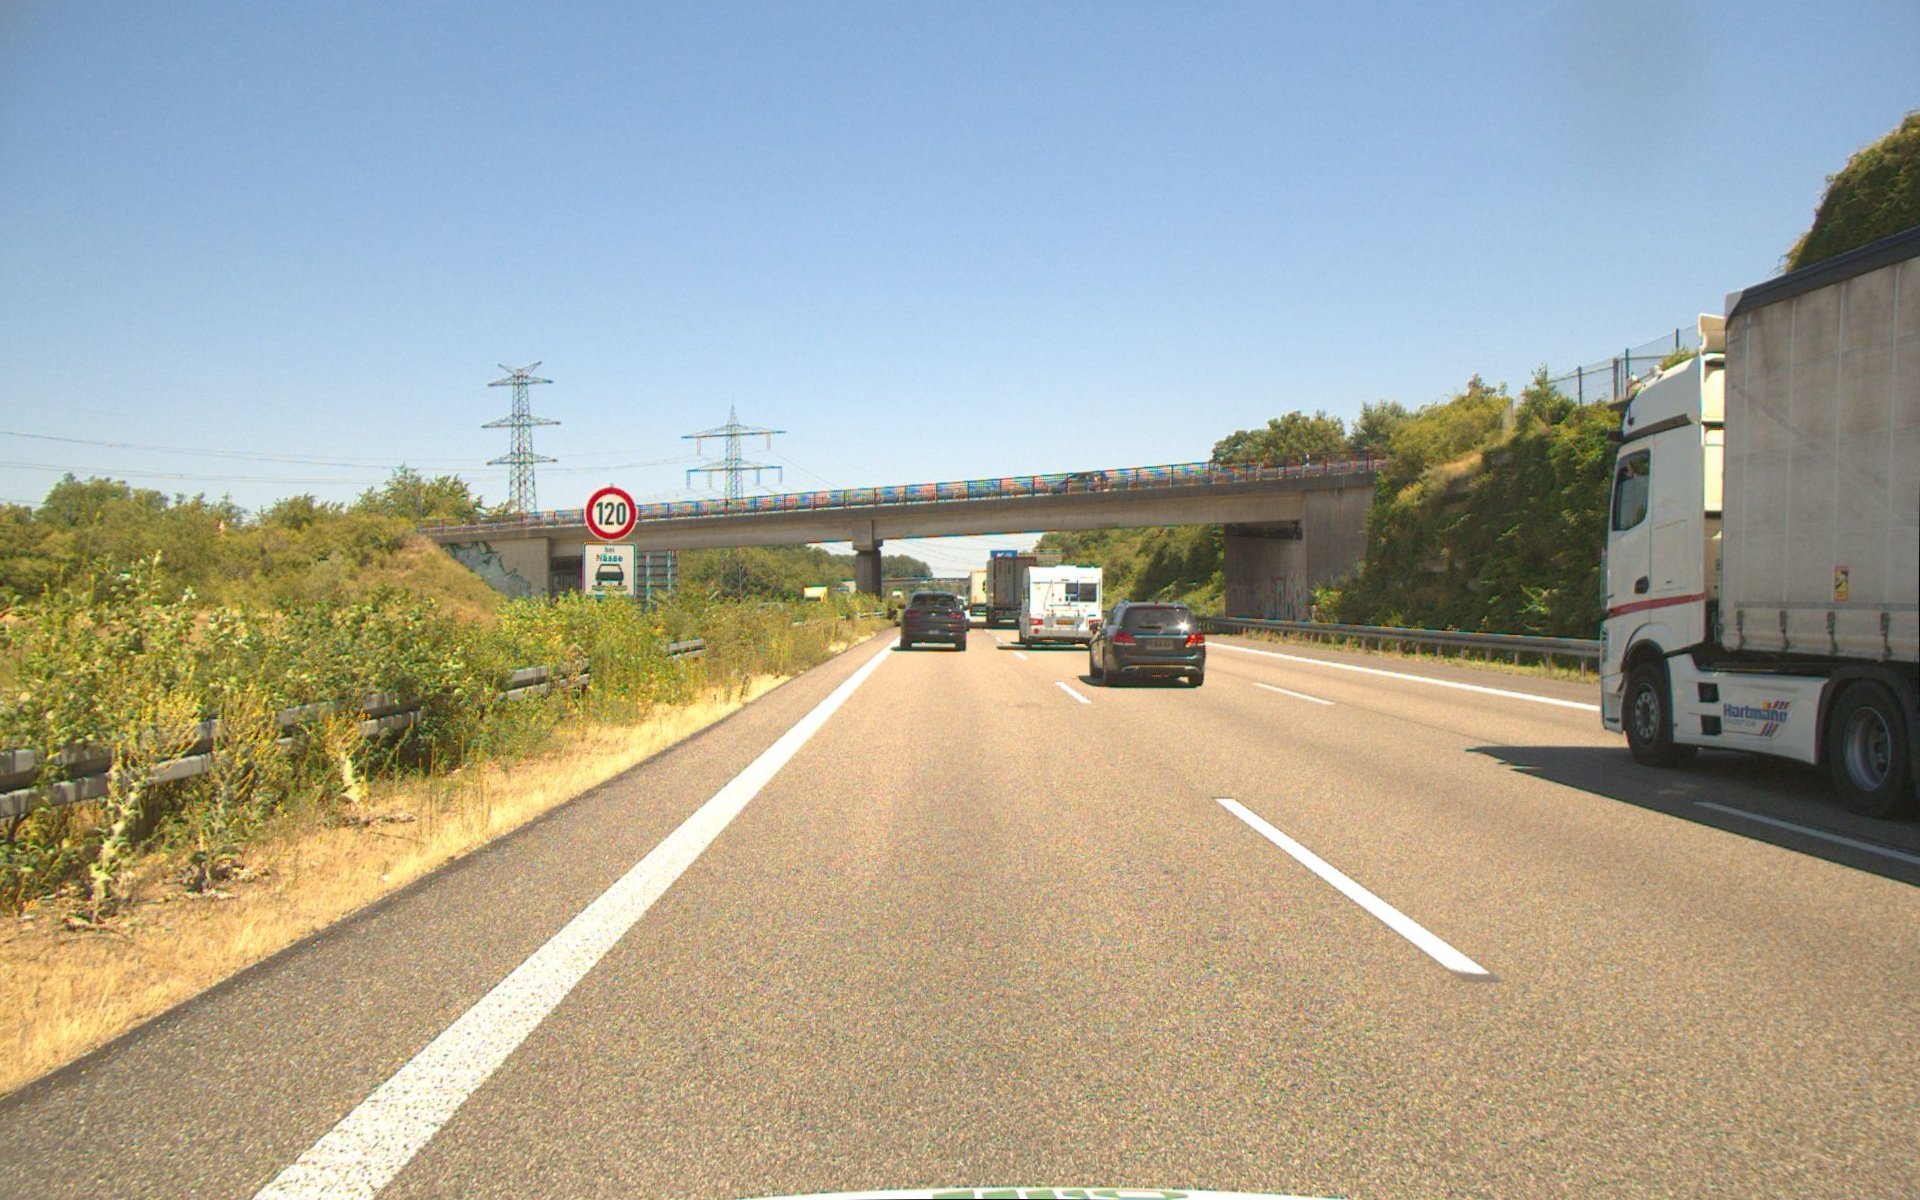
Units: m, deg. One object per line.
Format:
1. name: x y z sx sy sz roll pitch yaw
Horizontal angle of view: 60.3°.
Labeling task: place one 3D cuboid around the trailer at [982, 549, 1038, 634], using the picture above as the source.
1. trailer: 3.055 -0.454 104.396 3.024 4.970 12.257 1 0 0

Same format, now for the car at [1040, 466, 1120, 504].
1. car: 6.663 -6.368 91.791 3.914 1.680 1.995 -2 -2 32

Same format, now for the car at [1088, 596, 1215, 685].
1. car: 3.507 0.700 31.080 1.803 1.532 4.737 0 0 0

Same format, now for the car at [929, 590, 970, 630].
1. car: -0.528 0.465 79.871 1.922 1.846 4.448 -1 0 -1

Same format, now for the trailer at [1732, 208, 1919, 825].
1. trailer: 7.915 -0.569 7.233 2.673 4.174 13.186 0 0 -1

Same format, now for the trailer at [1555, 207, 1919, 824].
1. trailer: 7.771 -0.575 14.331 2.658 4.174 6.787 0 0 -1

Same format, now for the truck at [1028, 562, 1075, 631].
1. truck: 6.825 -0.251 124.469 3.024 4.970 8.797 1 0 0

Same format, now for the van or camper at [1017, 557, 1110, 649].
1. van or camper: 3.185 0.079 52.321 2.389 2.721 6.348 -1 0 -1

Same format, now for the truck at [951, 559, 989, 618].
1. truck: 0.924 -1.042 154.703 3.440 5.257 10.257 0 0 0

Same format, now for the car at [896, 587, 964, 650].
1. car: -0.909 0.529 49.601 1.953 1.803 3.999 -1 0 -1
